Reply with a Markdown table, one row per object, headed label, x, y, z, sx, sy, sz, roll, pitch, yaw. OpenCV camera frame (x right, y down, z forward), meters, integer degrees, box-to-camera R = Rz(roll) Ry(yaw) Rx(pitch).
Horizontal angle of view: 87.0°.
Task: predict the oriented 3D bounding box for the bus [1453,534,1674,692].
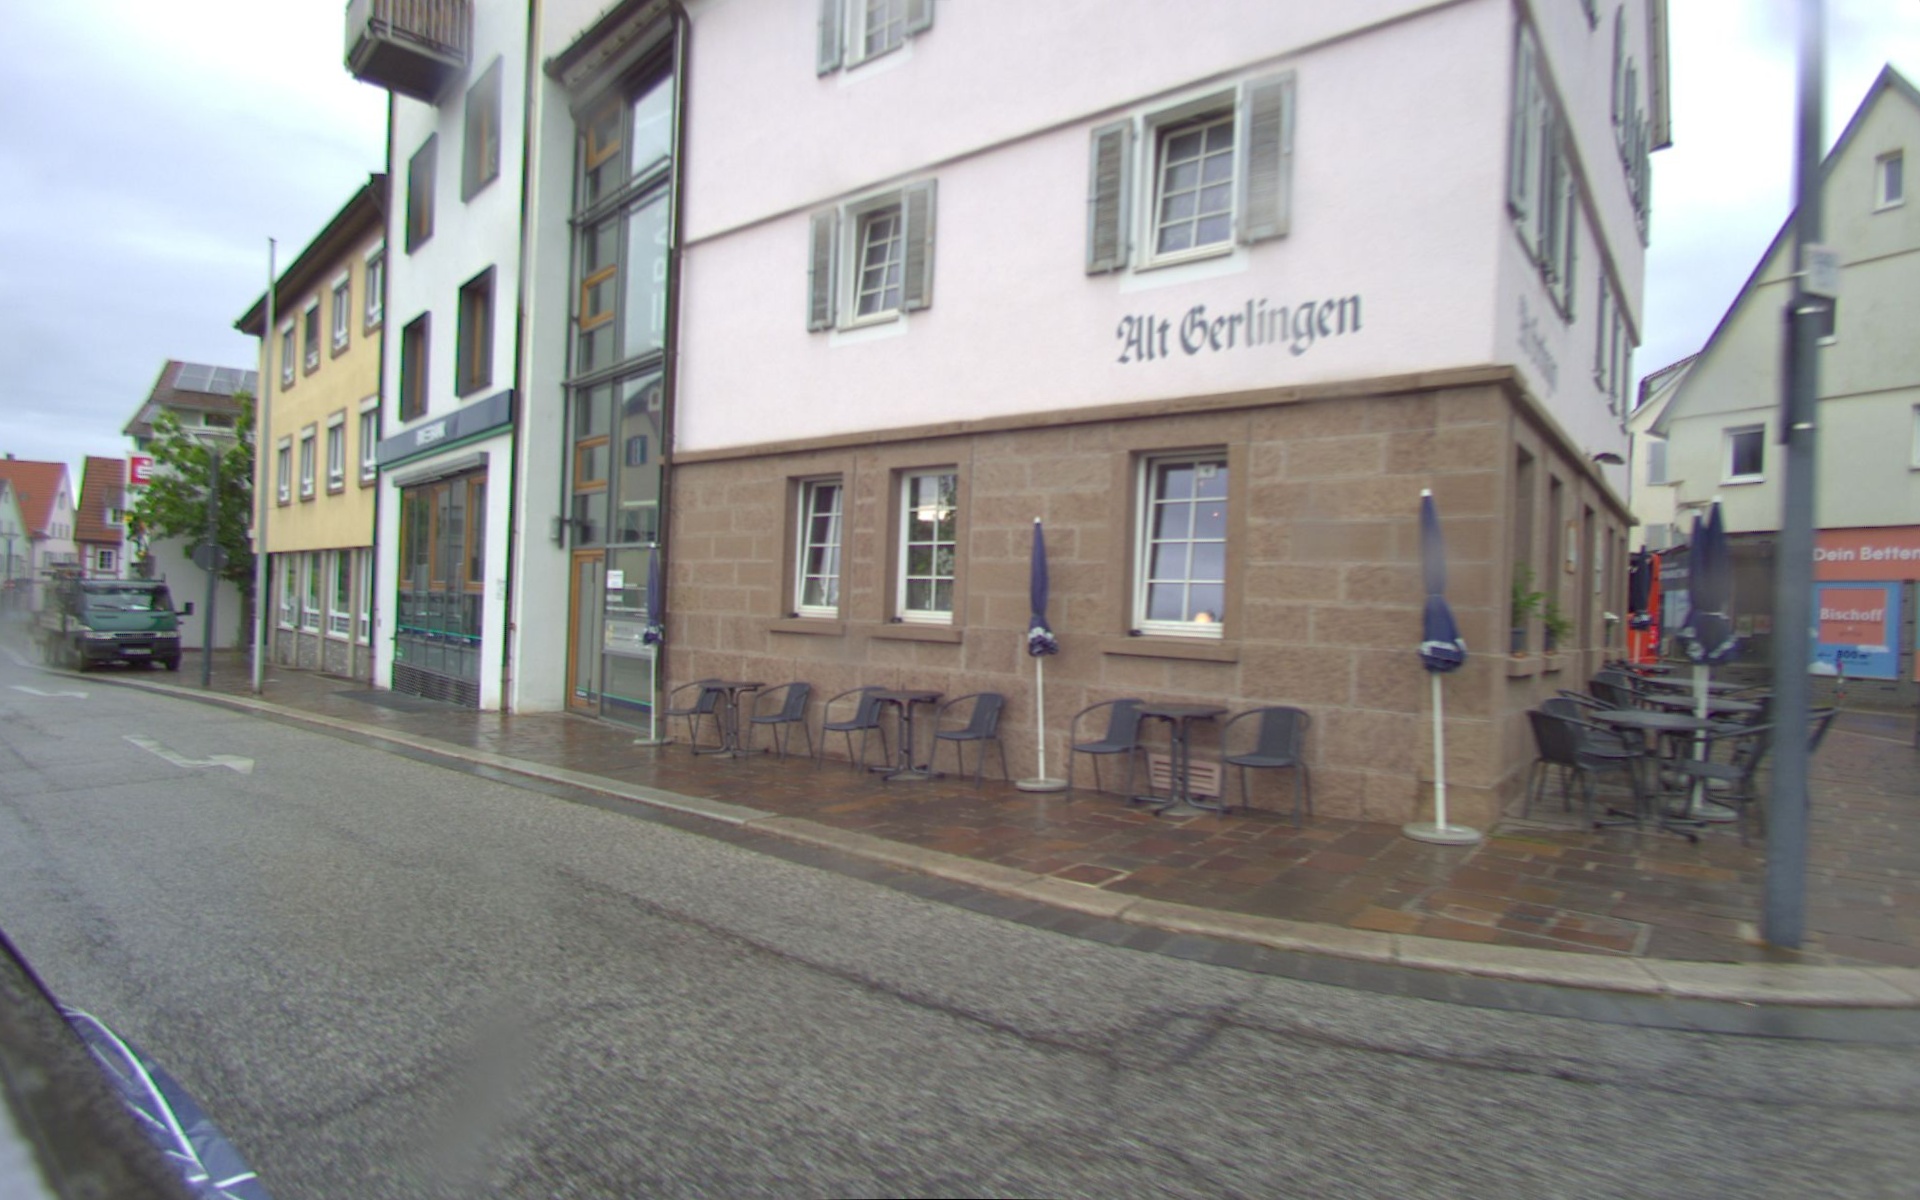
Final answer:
| label | x | y | z | sx | sy | sz | roll | pitch | yaw |
| --- | --- | --- | --- | --- | --- | --- | --- | --- | --- |
| bus | 15.272 | 0.458 | 26.598 | 2.830 | 3.283 | 10.549 | 1 | -2 | 19 |

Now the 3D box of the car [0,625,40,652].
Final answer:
| label | x | y | z | sx | sy | sz | roll | pitch | yaw |
| --- | --- | --- | --- | --- | --- | --- | --- | --- | --- |
| car | -56.205 | 2.267 | 60.411 | 1.780 | 1.453 | 4.006 | 1 | -1 | -41 |

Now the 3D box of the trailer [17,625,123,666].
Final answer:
| label | x | y | z | sx | sy | sz | roll | pitch | yaw |
| --- | --- | --- | --- | --- | --- | --- | --- | --- | --- |
| trailer | -26.004 | 1.342 | 29.562 | 3.016 | 1.133 | 1.834 | -3 | -3 | 39 |

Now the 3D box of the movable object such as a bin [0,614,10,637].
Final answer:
| label | x | y | z | sx | sy | sz | roll | pitch | yaw |
| --- | --- | --- | --- | --- | --- | --- | --- | --- | --- |
| movable object such as a bin | -45.749 | 1.224 | 48.218 | 0.687 | 1.085 | 0.645 | 0 | 0 | -45 |

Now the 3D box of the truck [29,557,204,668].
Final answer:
| label | x | y | z | sx | sy | sz | roll | pitch | yaw |
| --- | --- | --- | --- | --- | --- | --- | --- | --- | --- |
| truck | -22.285 | 0.444 | 26.632 | 6.477 | 2.615 | 2.375 | -3 | -3 | 40 |
